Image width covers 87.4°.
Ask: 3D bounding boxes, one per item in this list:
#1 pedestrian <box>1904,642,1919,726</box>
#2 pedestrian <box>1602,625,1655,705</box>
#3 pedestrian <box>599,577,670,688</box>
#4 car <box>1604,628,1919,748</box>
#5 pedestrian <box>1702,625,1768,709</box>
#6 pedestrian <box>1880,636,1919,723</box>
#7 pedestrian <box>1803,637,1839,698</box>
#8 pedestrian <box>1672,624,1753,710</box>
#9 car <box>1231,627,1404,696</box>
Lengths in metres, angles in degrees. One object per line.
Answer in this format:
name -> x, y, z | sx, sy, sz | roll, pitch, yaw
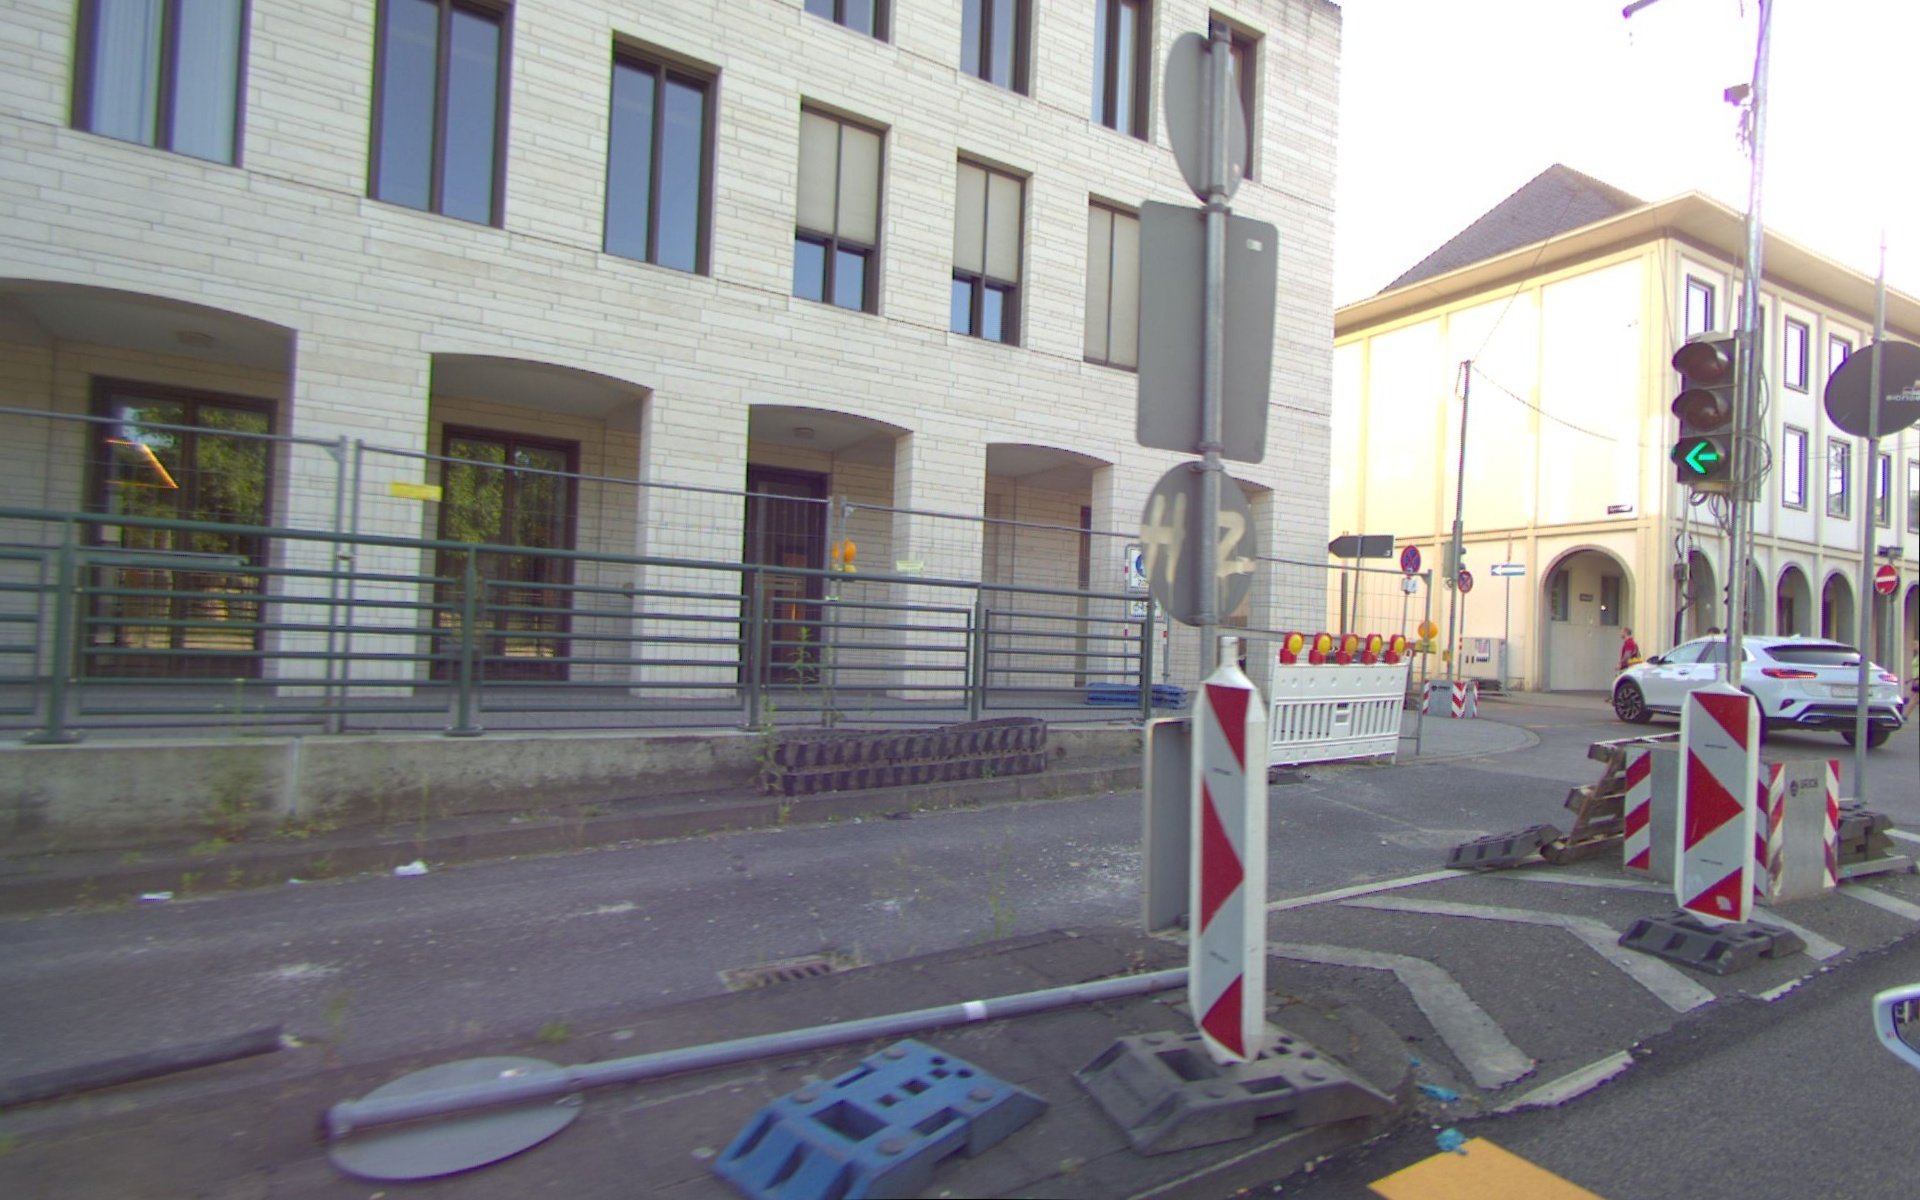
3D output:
pedestrian -> 19.332, 1.666, 19.944 | 0.612, 1.646, 0.721 | 0, 0, -29
pedestrian -> 15.702, 1.503, 23.597 | 0.702, 1.826, 0.769 | 0, -1, -29
pedestrian -> -4.573, 0.456, 14.091 | 0.789, 1.507, 0.668 | -1, -3, -31
car -> 11.793, 1.221, 15.131 | 1.828, 1.491, 4.002 | 2, -2, 4
pedestrian -> 17.199, 1.453, 22.302 | 0.702, 1.801, 0.934 | 0, -1, -29
pedestrian -> 19.665, 1.618, 20.650 | 0.667, 1.732, 0.960 | 0, 0, -29
pedestrian -> 26.956, 2.091, 31.457 | 0.717, 1.865, 0.638 | 0, 0, -26
pedestrian -> 16.571, 1.450, 22.148 | 0.708, 1.826, 1.238 | 0, -1, -29
car -> 8.811, 1.477, 25.116 | 1.755, 1.570, 4.082 | 2, -2, -24
